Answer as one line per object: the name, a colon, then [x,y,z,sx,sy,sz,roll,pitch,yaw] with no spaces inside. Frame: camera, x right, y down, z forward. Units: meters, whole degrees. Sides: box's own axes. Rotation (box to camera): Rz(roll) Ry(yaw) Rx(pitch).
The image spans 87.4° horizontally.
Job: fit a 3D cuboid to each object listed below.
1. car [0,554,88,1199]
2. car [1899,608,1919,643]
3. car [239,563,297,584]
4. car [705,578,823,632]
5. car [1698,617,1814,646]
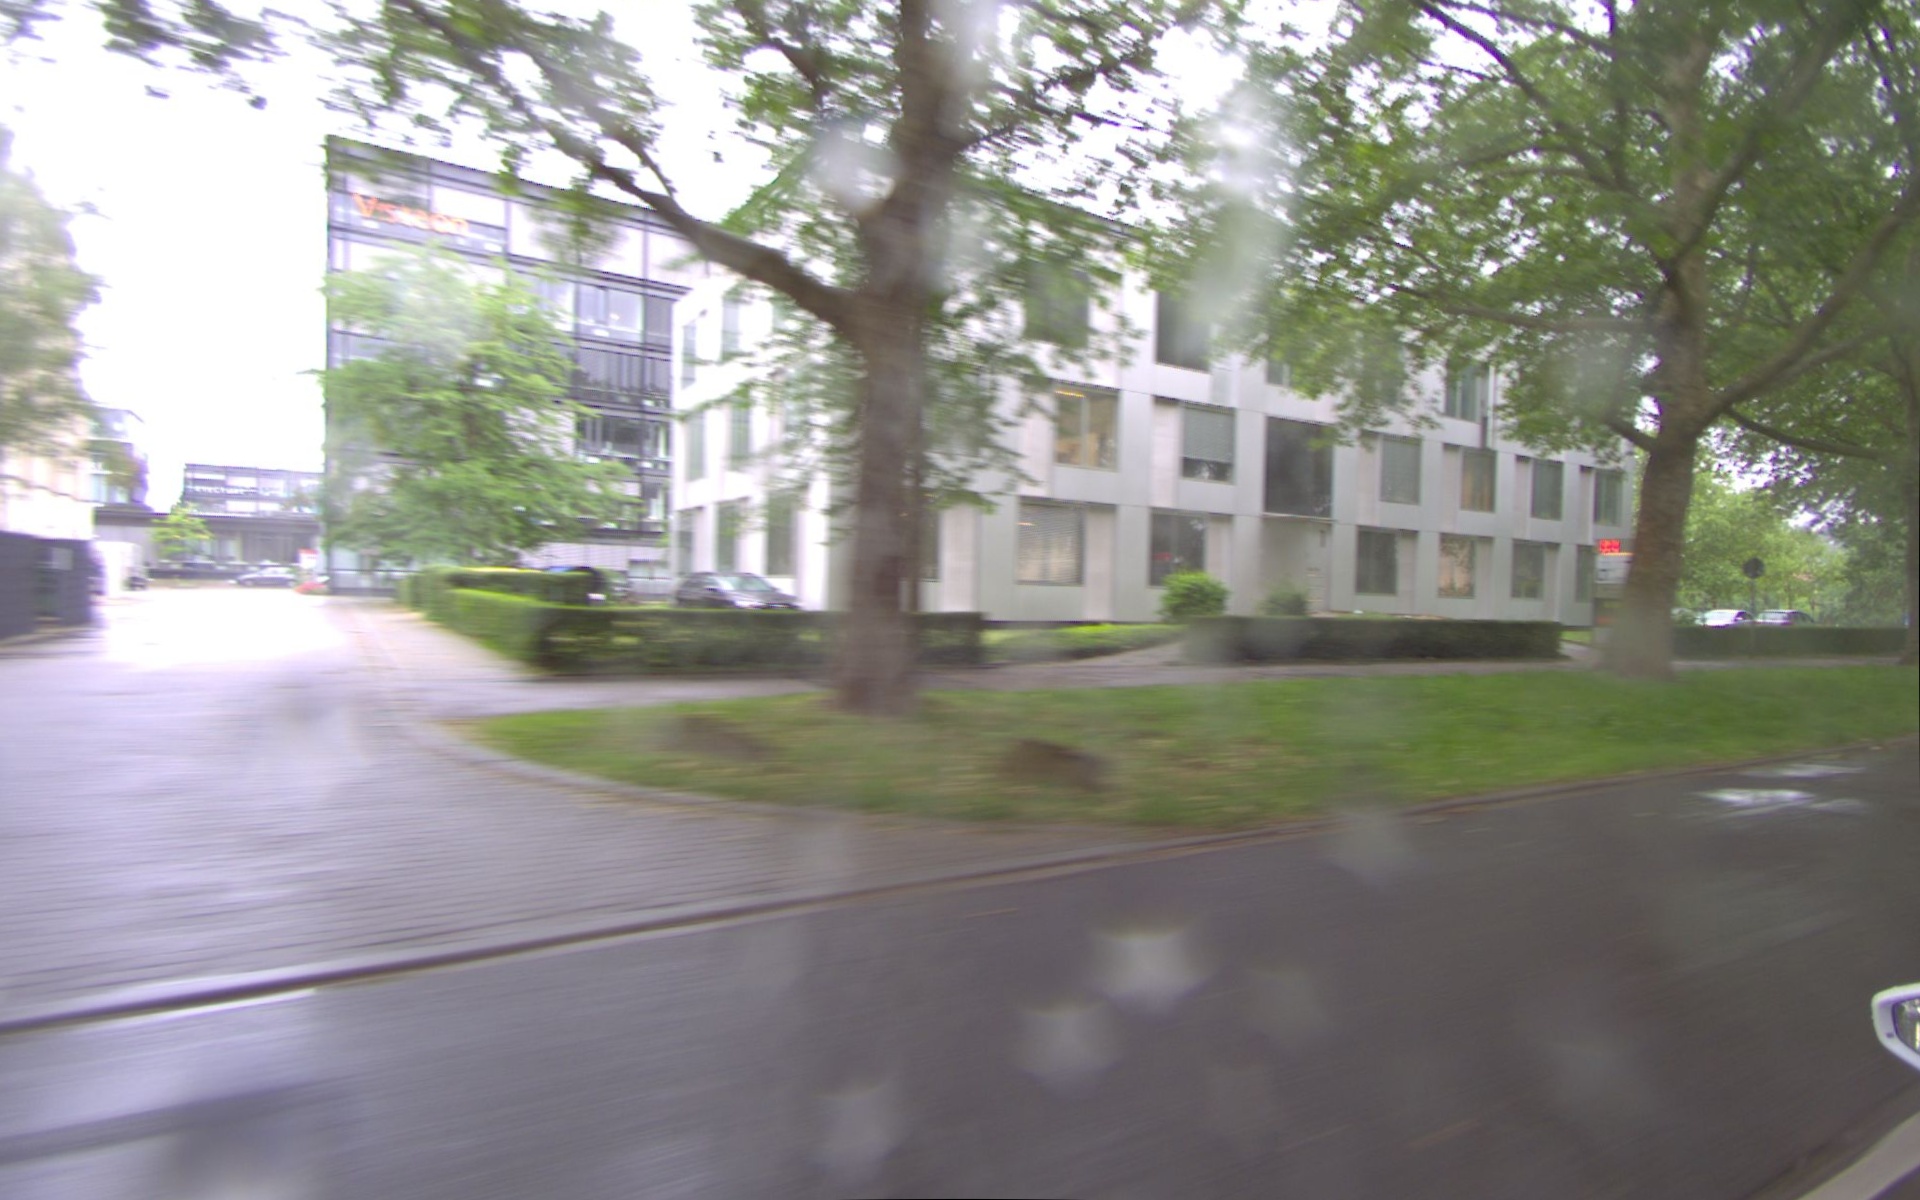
car: [-3.939,0.576,0.902,4.496,1.407,1.670,1,0,-31]
car: [47.409,1.269,47.518,1.976,1.644,3.968,1,1,-30]
car: [-52.256,-2.002,75.926,3.557,1.496,1.829,1,2,-34]
car: [-5.147,0.094,25.934,1.769,1.172,3.966,1,2,-31]
car: [38.709,1.513,48.928,1.977,1.150,3.967,1,2,-30]
